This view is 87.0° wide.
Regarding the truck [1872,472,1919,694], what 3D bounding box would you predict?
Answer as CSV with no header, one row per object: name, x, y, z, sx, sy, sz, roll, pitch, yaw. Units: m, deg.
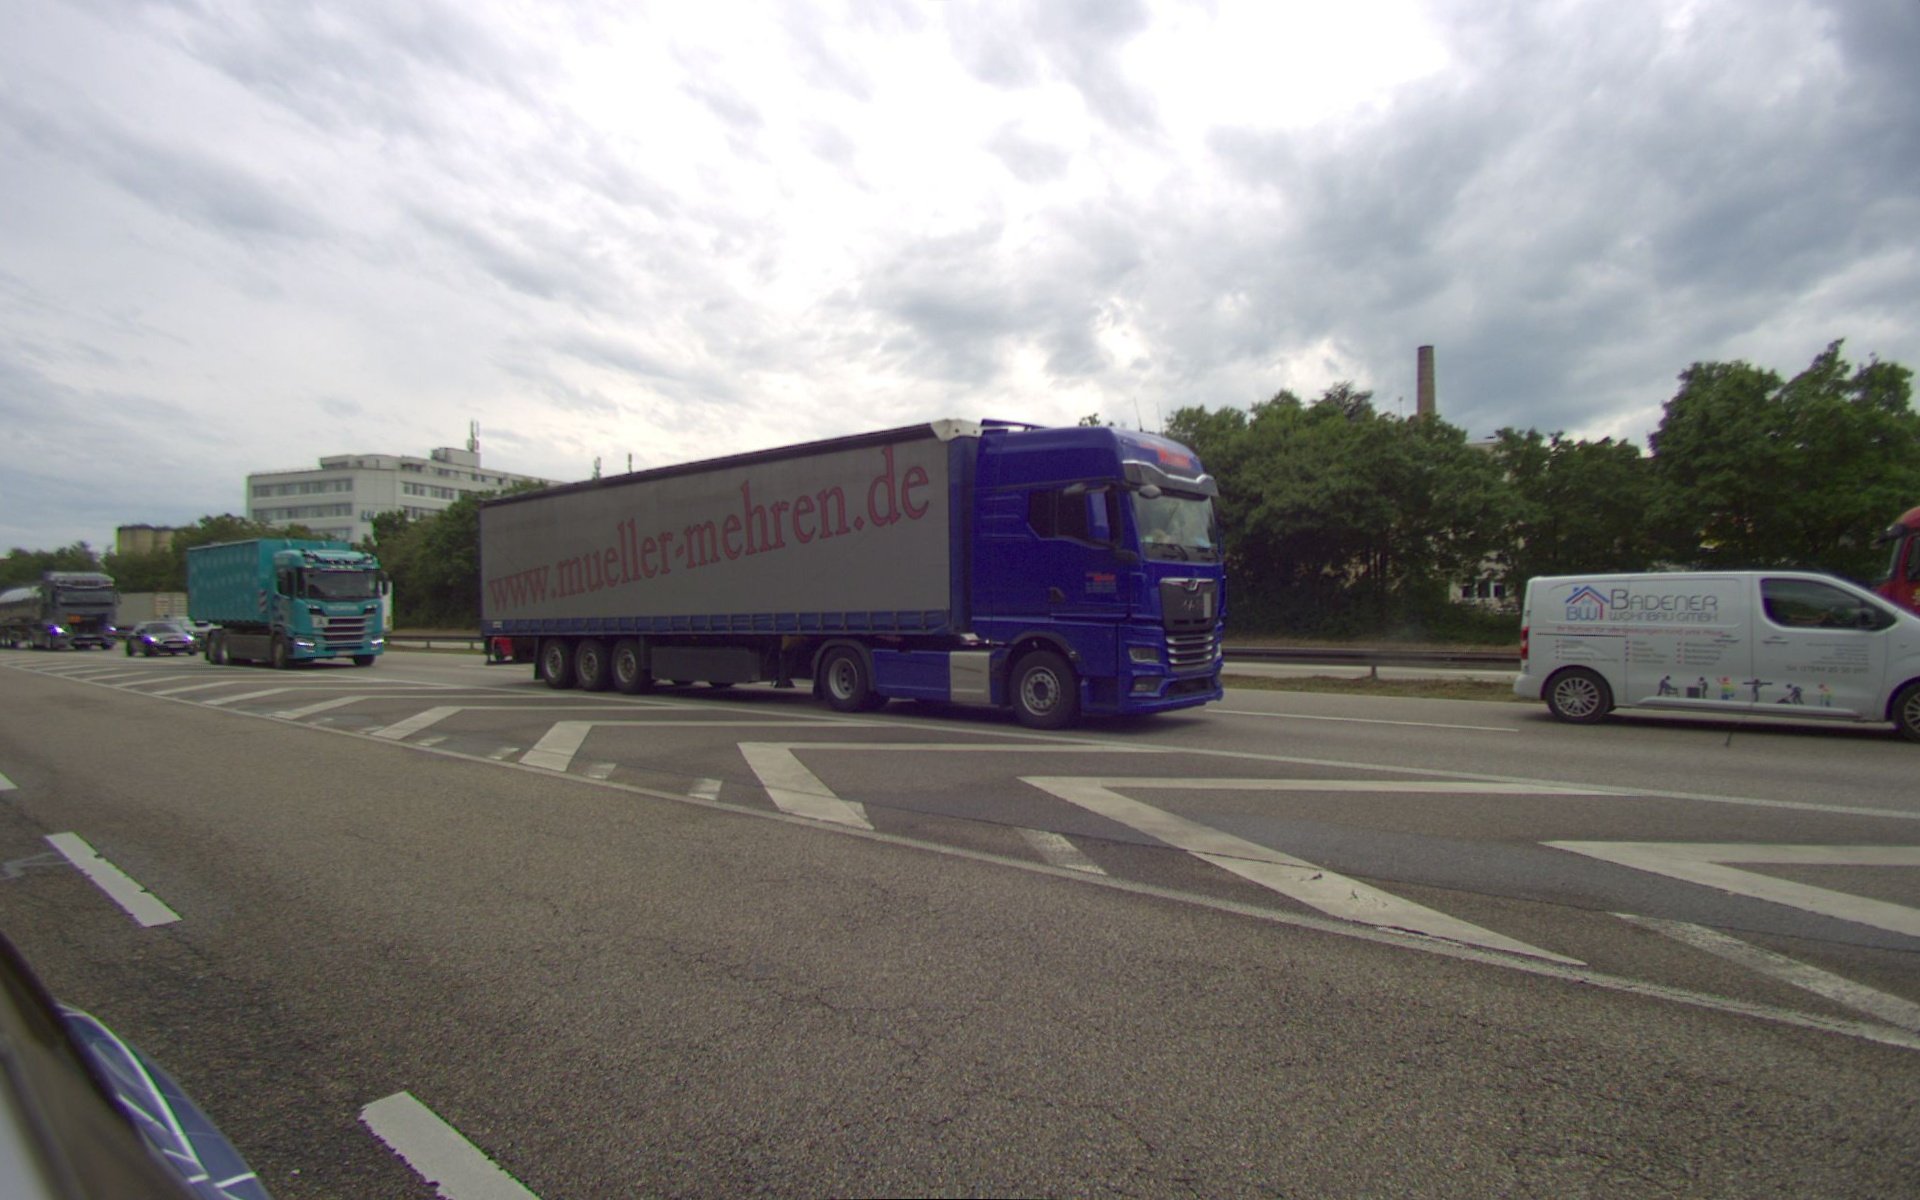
truck,20.046,-0.343,18.451,4.904,4.095,2.734,-2,-2,41

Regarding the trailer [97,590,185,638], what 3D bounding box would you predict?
trailer,-73.013,1.299,90.099,13.042,4.060,2.378,-1,-2,34

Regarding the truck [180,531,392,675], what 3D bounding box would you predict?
truck,-21.852,0.179,32.490,10.111,4.031,2.667,-1,-1,38

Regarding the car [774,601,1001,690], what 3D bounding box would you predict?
car,-1.651,0.920,21.505,5.082,1.691,1.766,-2,-1,41

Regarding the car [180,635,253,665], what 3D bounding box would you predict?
car,-37.173,2.470,50.565,4.048,1.444,1.875,-1,-2,37

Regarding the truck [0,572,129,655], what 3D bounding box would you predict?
truck,-48.081,0.776,53.544,13.121,3.955,3.289,-1,-1,37

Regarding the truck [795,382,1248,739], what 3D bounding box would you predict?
truck,0.667,-0.381,14.213,5.922,3.991,2.642,-1,-1,40

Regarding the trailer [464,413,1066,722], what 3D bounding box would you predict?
trailer,-4.613,-0.282,18.595,13.906,4.005,2.646,-1,-1,40

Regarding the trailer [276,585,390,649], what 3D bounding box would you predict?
trailer,-42.937,1.203,69.014,13.773,4.012,2.567,-2,-2,41

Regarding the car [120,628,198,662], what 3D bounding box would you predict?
car,-32.937,1.811,41.565,3.996,1.332,1.735,-1,-1,40

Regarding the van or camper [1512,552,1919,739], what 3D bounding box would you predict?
van or camper,9.485,0.508,12.054,4.845,1.935,1.901,-1,-2,39
